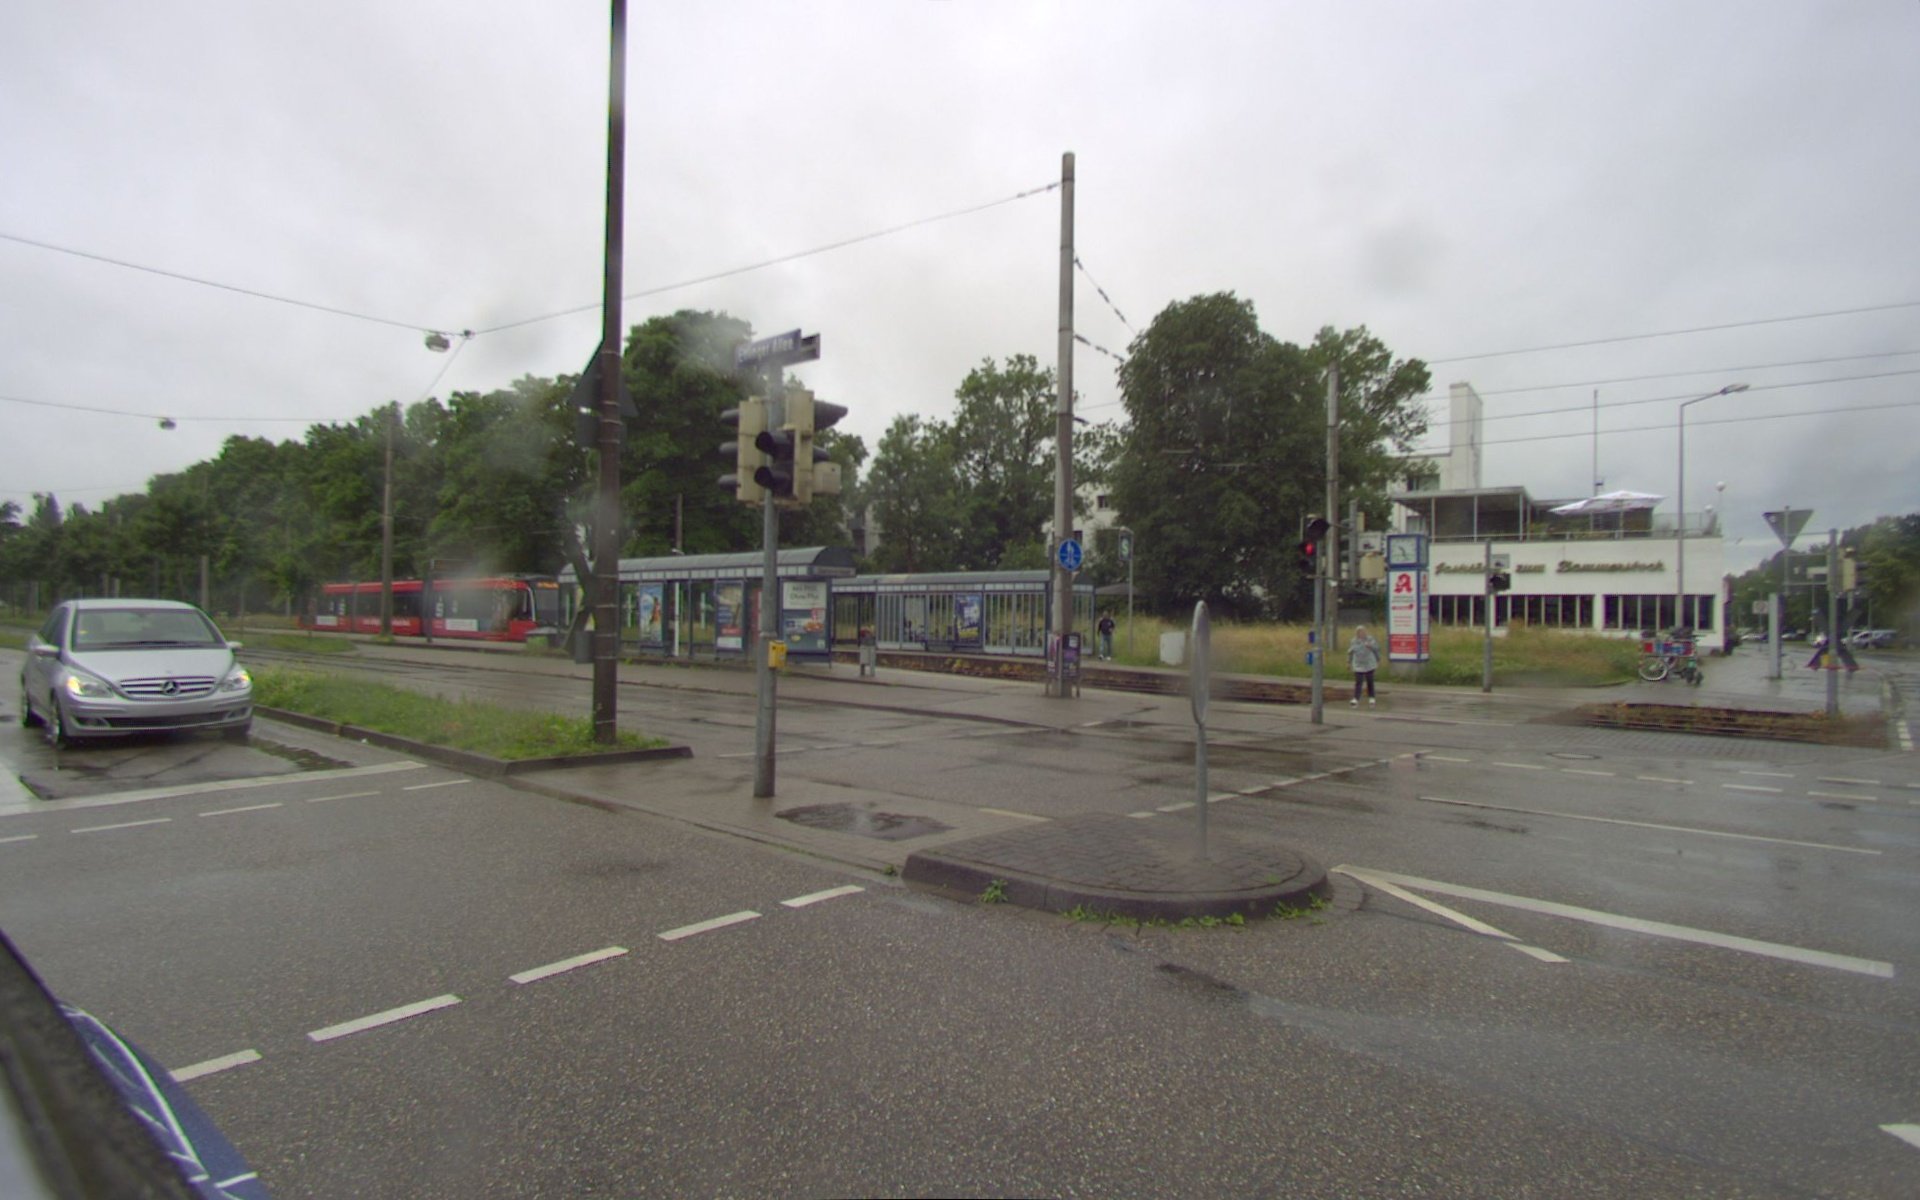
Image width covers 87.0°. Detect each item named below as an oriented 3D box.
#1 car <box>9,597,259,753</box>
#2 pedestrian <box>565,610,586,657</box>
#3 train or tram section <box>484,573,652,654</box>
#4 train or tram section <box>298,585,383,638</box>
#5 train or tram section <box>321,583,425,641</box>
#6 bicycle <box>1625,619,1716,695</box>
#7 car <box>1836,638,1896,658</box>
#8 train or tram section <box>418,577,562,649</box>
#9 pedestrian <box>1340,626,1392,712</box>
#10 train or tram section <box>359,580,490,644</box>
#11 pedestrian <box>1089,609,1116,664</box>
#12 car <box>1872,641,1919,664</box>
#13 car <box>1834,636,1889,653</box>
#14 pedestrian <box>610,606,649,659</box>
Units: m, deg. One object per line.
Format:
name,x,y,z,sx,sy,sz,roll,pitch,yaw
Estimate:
car,-9.945,0.770,12.079,4.012,1.556,1.718,-1,-1,42
pedestrian,-13.008,1.123,34.231,0.514,1.574,0.603,-1,0,-34
train or tram section,-18.323,0.628,46.965,9.277,3.415,3.495,0,-2,43
train or tram section,-42.370,0.814,69.166,5.769,3.444,3.495,-1,-2,42
train or tram section,-37.629,0.786,64.779,7.902,3.438,3.495,0,-2,43
bicycle,17.248,1.362,24.590,1.734,1.774,0.633,-1,-2,43
car,84.880,4.459,94.843,3.991,1.716,1.853,0,1,35
train or tram section,-24.629,0.684,52.785,9.277,3.416,3.495,0,-2,43
pedestrian,8.238,1.375,20.516,0.782,1.670,0.794,0,1,39
train or tram section,-31.400,0.739,59.033,10.260,3.427,3.495,0,-2,43
pedestrian,4.809,1.210,34.096,0.680,1.806,0.623,0,1,41
car,80.914,4.507,86.685,3.991,1.716,1.853,0,1,35
car,90.088,4.438,101.218,3.996,1.508,1.678,0,1,39
pedestrian,-10.301,1.005,31.562,0.929,1.609,0.795,-1,-1,45
